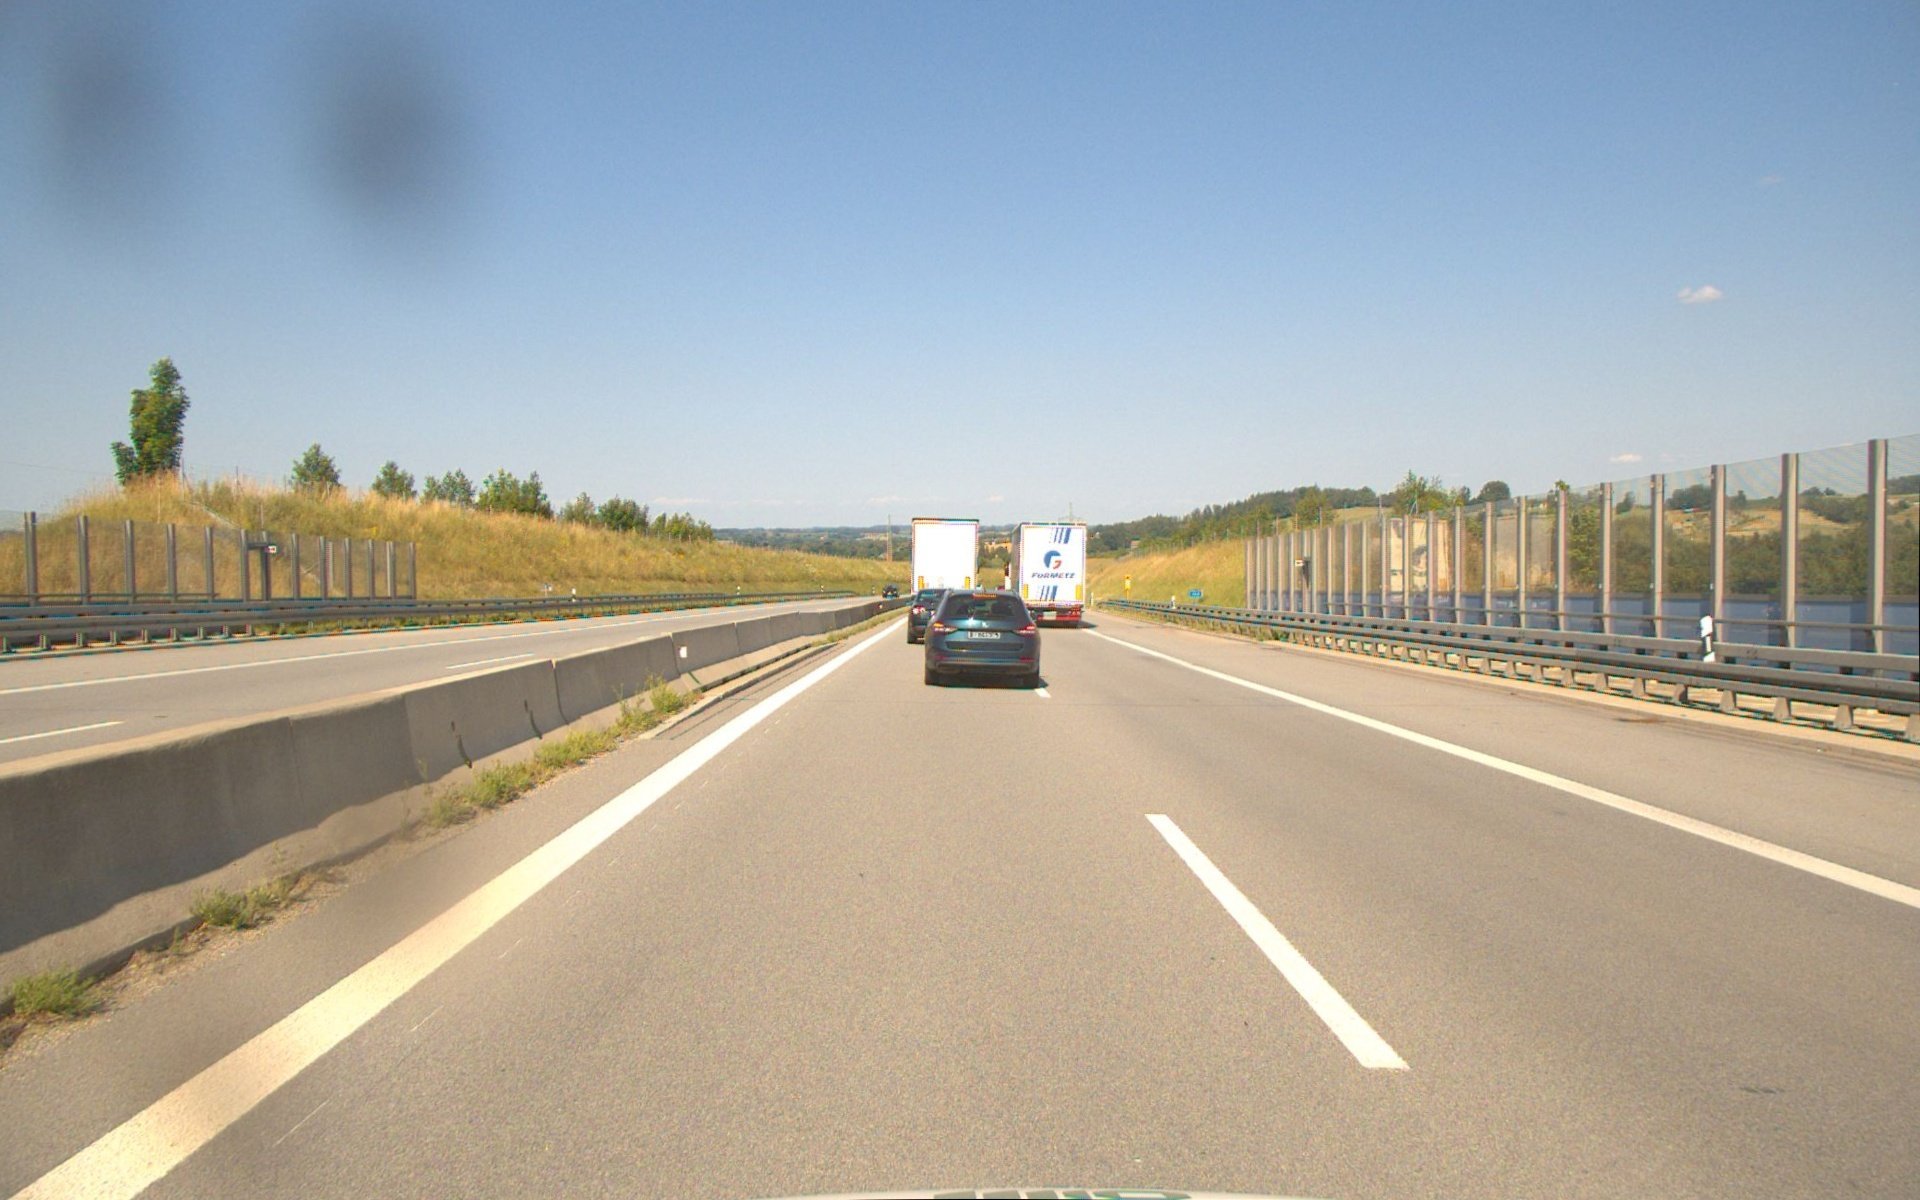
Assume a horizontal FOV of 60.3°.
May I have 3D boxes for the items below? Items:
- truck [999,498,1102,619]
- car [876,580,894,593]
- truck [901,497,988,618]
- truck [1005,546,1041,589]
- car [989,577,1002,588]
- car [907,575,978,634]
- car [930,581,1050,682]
[{"bbox_3d":[3.551,-1.657,68.206,3.530,4.457,11.234,-2,1,0],"label":"truck"},{"bbox_3d":[-8.606,-1.514,189.985,1.710,1.379,4.000,-2,1,0],"label":"car"},{"bbox_3d":[-0.524,-1.718,68.260,3.145,4.457,11.235,-2,1,1],"label":"truck"},{"bbox_3d":[6.977,-3.606,185.286,3.530,4.457,11.234,-2,1,0],"label":"truck"},{"bbox_3d":[5.085,-2.535,236.783,1.665,1.466,3.999,0,1,-1],"label":"car"},{"bbox_3d":[-0.517,0.086,44.584,1.666,1.466,3.998,-2,1,-3],"label":"car"},{"bbox_3d":[0.405,0.438,26.058,1.740,1.466,3.788,0,1,-1],"label":"car"}]
